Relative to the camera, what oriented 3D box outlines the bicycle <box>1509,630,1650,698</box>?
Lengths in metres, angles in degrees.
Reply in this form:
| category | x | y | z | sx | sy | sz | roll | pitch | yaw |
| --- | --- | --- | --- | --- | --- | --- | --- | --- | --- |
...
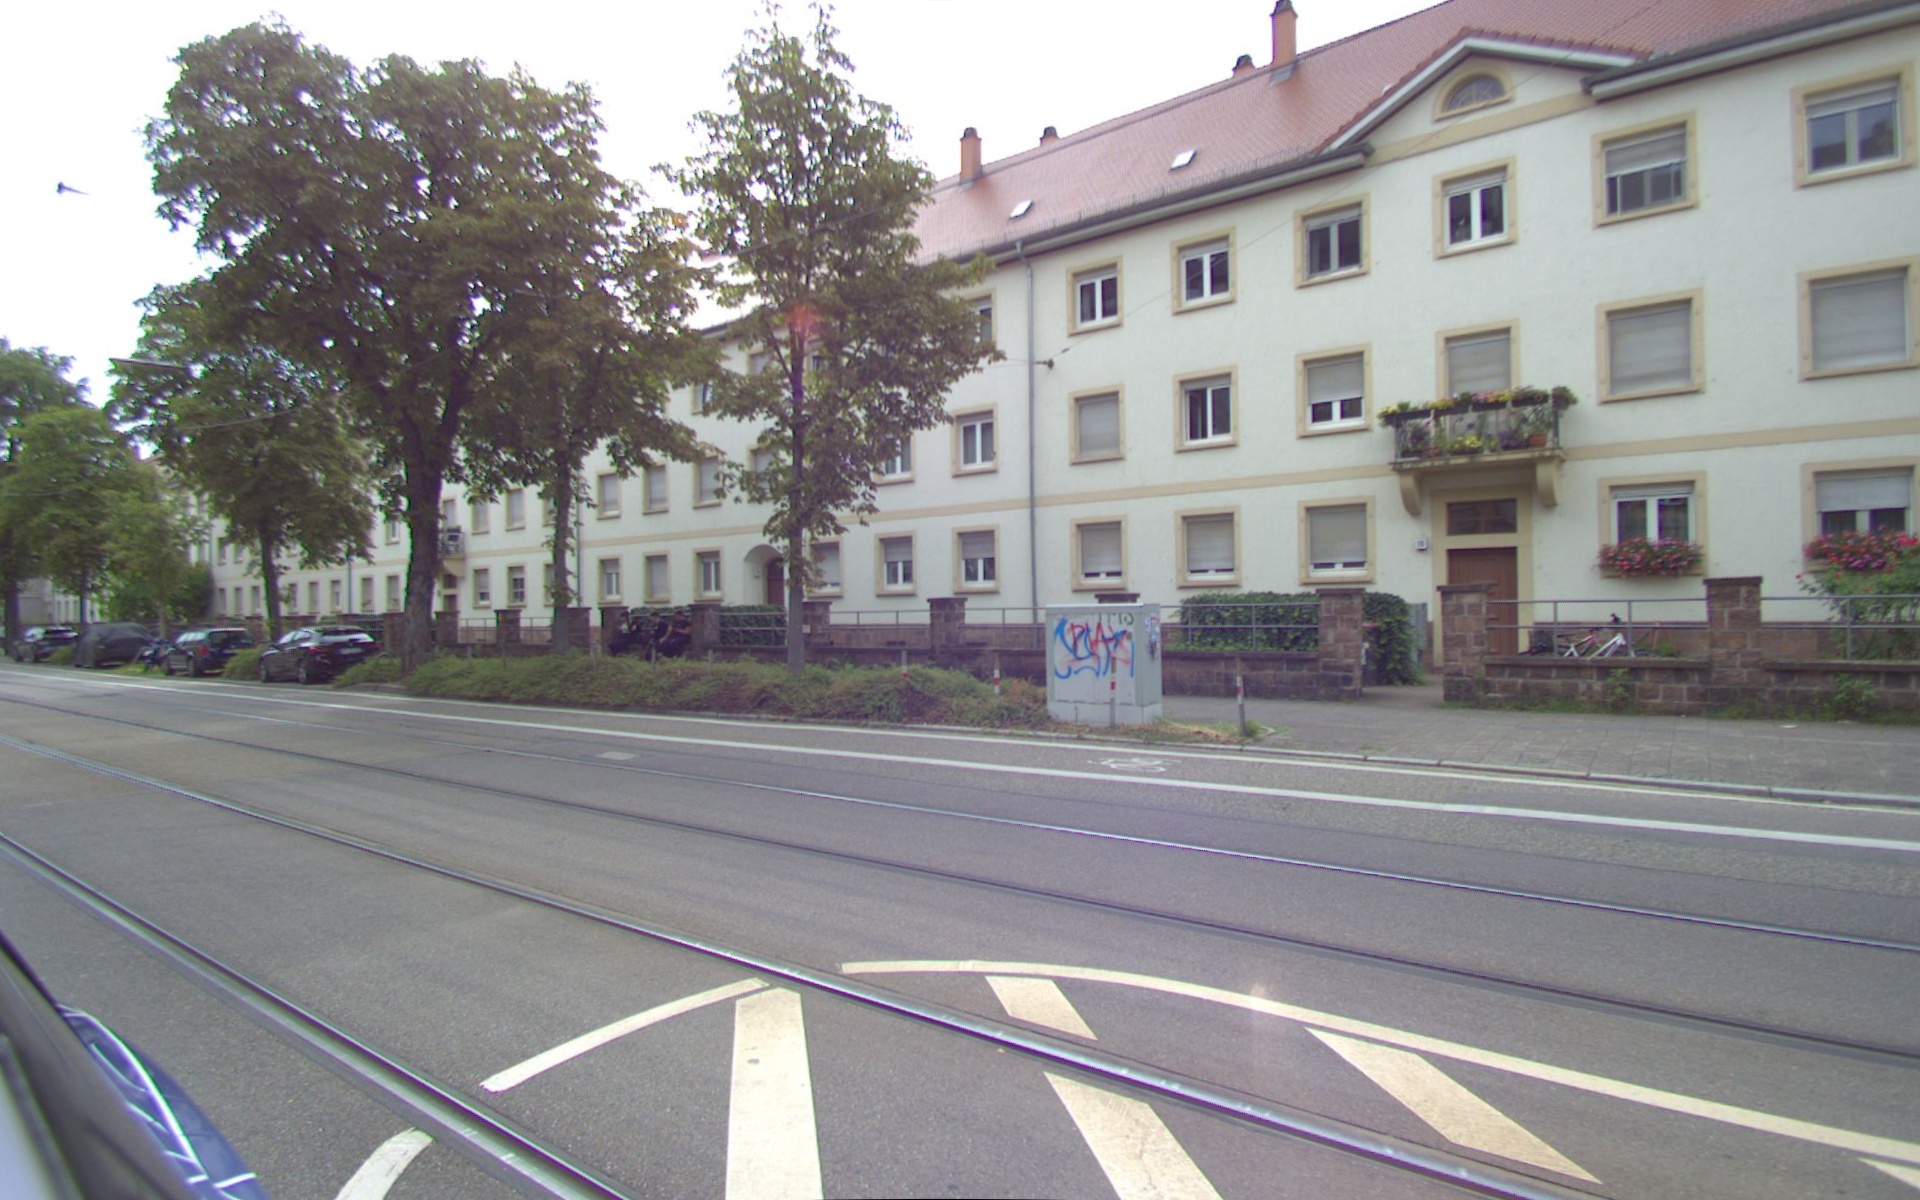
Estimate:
| category | x | y | z | sx | sy | sz | roll | pitch | yaw |
| --- | --- | --- | --- | --- | --- | --- | --- | --- | --- |
| bicycle | 8.886 | 0.897 | 14.551 | 1.669 | 0.922 | 0.473 | -2 | -2 | 38 |

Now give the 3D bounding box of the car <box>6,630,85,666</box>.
| category | x | y | z | sx | sy | sz | roll | pitch | yaw |
| --- | --- | --- | --- | --- | --- | --- | --- | --- | --- |
| car | -39.949 | 2.061 | 44.167 | 4.290 | 1.481 | 1.682 | -2 | -1 | 35 |

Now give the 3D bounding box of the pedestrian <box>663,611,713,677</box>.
| category | x | y | z | sx | sy | sz | roll | pitch | yaw |
| --- | --- | --- | --- | --- | --- | --- | --- | --- | --- |
| pedestrian | -6.241 | 0.996 | 23.243 | 0.730 | 1.476 | 0.826 | -2 | -1 | 32 |

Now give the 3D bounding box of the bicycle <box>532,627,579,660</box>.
| category | x | y | z | sx | sy | sz | roll | pitch | yaw |
| --- | --- | --- | --- | --- | --- | --- | --- | --- | --- |
| bicycle | -11.314 | 1.210 | 28.279 | 1.548 | 0.869 | 0.504 | -2 | -2 | 38 |

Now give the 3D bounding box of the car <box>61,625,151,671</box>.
| category | x | y | z | sx | sy | sz | roll | pitch | yaw |
| --- | --- | --- | --- | --- | --- | --- | --- | --- | --- |
| car | -32.625 | 1.803 | 38.643 | 4.293 | 1.624 | 1.769 | -2 | -1 | 38 |

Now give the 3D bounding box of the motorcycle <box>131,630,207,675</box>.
| category | x | y | z | sx | sy | sz | roll | pitch | yaw |
| --- | --- | --- | --- | --- | --- | --- | --- | --- | --- |
| motorcycle | -26.608 | 1.757 | 34.075 | 0.590 | 1.269 | 1.852 | -2 | 4 | 33 |

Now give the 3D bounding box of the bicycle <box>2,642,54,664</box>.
| category | x | y | z | sx | sy | sz | roll | pitch | yaw |
| --- | --- | --- | --- | --- | --- | --- | --- | --- | --- |
| bicycle | -43.531 | 2.462 | 47.290 | 0.670 | 0.978 | 1.656 | -2 | -1 | 28 |

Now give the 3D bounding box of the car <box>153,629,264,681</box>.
| category | x | y | z | sx | sy | sz | roll | pitch | yaw |
| --- | --- | --- | --- | --- | --- | --- | --- | --- | --- |
| car | -23.571 | 1.681 | 31.681 | 4.293 | 1.434 | 1.681 | -2 | 0 | 38 |

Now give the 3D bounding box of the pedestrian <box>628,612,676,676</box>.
| category | x | y | z | sx | sy | sz | roll | pitch | yaw |
| --- | --- | --- | --- | --- | --- | --- | --- | --- | --- |
| pedestrian | -7.273 | 1.036 | 23.905 | 0.730 | 1.476 | 0.826 | -2 | -1 | 32 |

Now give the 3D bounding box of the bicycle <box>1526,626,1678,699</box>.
| category | x | y | z | sx | sy | sz | roll | pitch | yaw |
| --- | --- | --- | --- | --- | --- | --- | --- | --- | --- |
| bicycle | 8.582 | 0.821 | 13.570 | 1.669 | 0.922 | 0.473 | -2 | -2 | 38 |

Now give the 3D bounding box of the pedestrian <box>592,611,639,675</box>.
| category | x | y | z | sx | sy | sz | roll | pitch | yaw |
| --- | --- | --- | --- | --- | --- | --- | --- | --- | --- |
| pedestrian | -8.446 | 1.039 | 24.810 | 0.730 | 1.524 | 0.826 | -2 | -1 | 32 |

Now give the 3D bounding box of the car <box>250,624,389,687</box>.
| category | x | y | z | sx | sy | sz | roll | pitch | yaw |
| --- | --- | --- | --- | --- | --- | --- | --- | --- | --- |
| car | -17.020 | 1.421 | 26.815 | 4.293 | 1.434 | 1.681 | -2 | 2 | 38 |
